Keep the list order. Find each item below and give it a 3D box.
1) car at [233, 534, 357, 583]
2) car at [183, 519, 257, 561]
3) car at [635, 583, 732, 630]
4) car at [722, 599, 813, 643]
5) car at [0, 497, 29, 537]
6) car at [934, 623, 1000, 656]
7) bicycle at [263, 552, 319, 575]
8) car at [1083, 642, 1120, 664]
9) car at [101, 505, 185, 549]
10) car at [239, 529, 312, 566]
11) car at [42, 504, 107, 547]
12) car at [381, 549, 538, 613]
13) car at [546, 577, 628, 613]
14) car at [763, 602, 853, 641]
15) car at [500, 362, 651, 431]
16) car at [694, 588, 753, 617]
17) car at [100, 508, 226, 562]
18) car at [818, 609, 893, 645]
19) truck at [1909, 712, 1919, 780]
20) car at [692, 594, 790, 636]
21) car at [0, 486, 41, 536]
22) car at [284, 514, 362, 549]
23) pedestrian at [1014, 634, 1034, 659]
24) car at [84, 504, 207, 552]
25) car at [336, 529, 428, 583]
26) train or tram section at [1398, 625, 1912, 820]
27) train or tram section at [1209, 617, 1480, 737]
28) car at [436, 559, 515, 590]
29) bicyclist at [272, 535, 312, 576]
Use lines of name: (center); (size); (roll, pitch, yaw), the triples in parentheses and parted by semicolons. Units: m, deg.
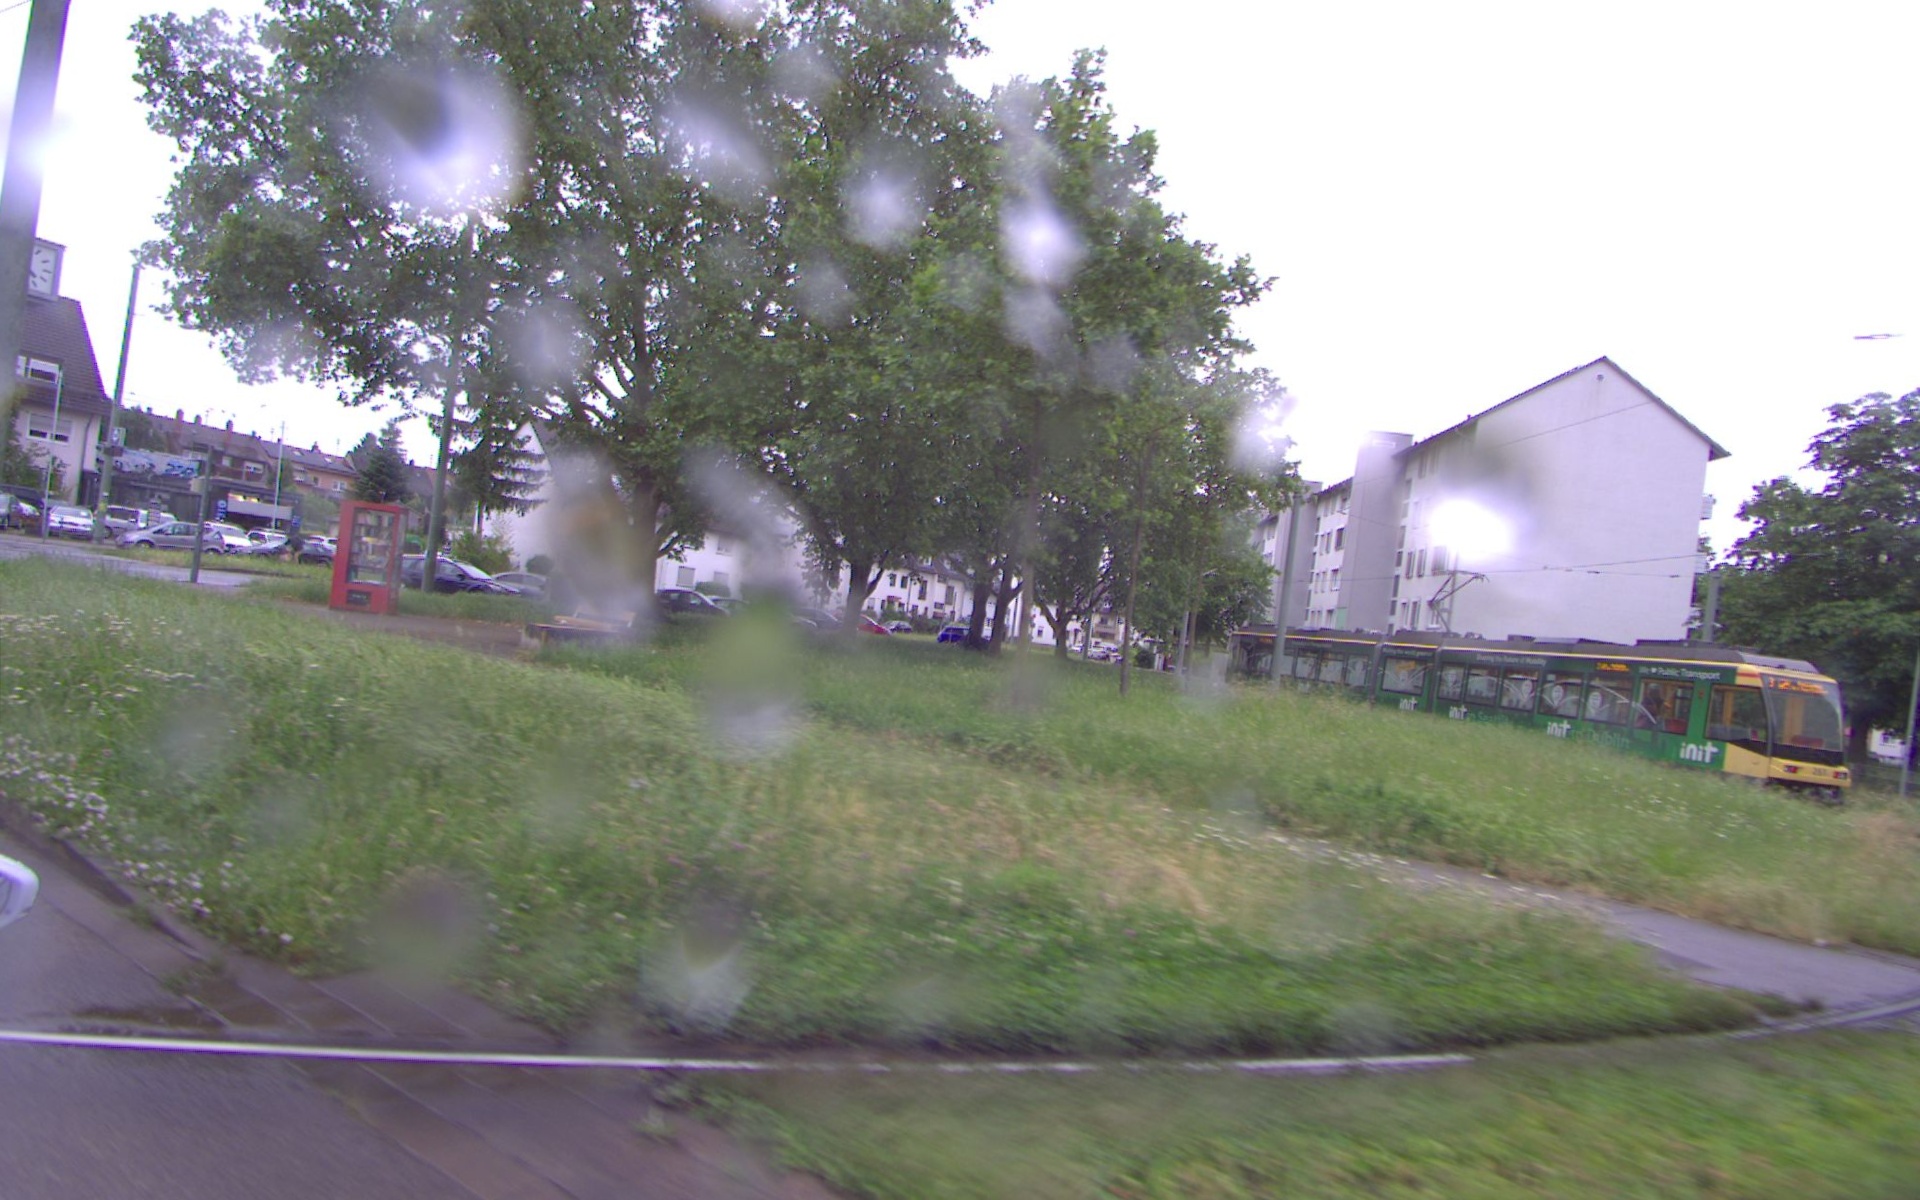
car: (-30.812, -1.891, 46.741); (1.693, 1.352, 4.392); (7, -5, 28)
car: (-37.053, -3.021, 50.383); (3.559, 1.590, 1.721); (6, -3, 34)
car: (-11.361, 0.287, 41.493); (3.454, 1.523, 1.755); (6, -2, -6)
car: (-8.853, 0.996, 46.655); (3.931, 1.570, 1.960); (7, -3, -9)
car: (-40.943, -3.630, 42.199); (1.816, 1.520, 4.027); (10, -3, -31)
car: (0.440, 2.470, 62.984); (3.926, 1.501, 1.999); (7, 0, -1)
bicycle: (-29.981, -1.629, 45.112); (0.926, 0.796, 1.817); (7, -1, 28)
car: (12.767, 4.802, 90.694); (1.928, 1.570, 3.998); (5, -3, 29)
car: (-38.380, -3.454, 47.259); (3.808, 1.598, 1.804); (7, 0, 32)
car: (-35.627, -2.746, 52.363); (3.780, 1.411, 1.721); (6, -3, 34)
car: (-39.366, -3.307, 44.699); (1.825, 1.520, 4.007); (11, -4, -44)
car: (-16.392, -0.592, 33.067); (4.100, 1.494, 1.805); (7, -1, 0)
car: (-21.331, -0.264, 57.702); (1.965, 1.493, 3.996); (7, -1, 28)
car: (-7.451, 1.074, 49.631); (4.047, 1.498, 1.867); (6, -1, -2)
car: (-13.455, -7.113, 35.324); (4.464, 1.494, 1.805); (7, -1, 4)
car: (-16.649, 0.196, 70.980); (1.579, 1.439, 3.943); (7, -4, 30)
car: (-33.385, -2.696, 42.246); (1.693, 1.520, 3.644); (7, -4, 29)
car: (-5.424, 1.398, 52.545); (3.530, 1.498, 1.639); (6, -1, 4)
truck: (51.592, 7.728, 51.934); (3.157, 3.511, 7.125); (6, -4, 41)
car: (-9.568, 0.684, 44.203); (3.928, 1.518, 1.824); (5, -2, -7)
car: (-44.556, -4.253, 45.144); (1.967, 2.037, 4.439); (6, -2, 32)
car: (-42.155, -4.506, 66.663); (1.759, 1.599, 4.452); (6, -2, 9)
pedestrian: (4.832, 3.497, 75.899); (1.029, 1.734, 1.080); (6, -1, 26)
car: (-41.062, -3.583, 50.831); (1.732, 1.707, 4.439); (6, -2, 32)
car: (-33.567, -2.571, 58.410); (5.061, 2.432, 2.151); (7, -3, 30)
train or tram section: (17.612, 2.731, 28.155); (2.668, 3.630, 14.733); (9, -2, -5)
train or tram section: (15.323, 2.862, 42.520); (2.672, 3.630, 14.708); (9, -2, -12)
car: (-29.991, -1.561, 62.329); (1.966, 1.585, 3.885); (7, 2, 29)
bicyclist: (-29.944, -1.989, 45.077); (0.933, 1.617, 1.041); (7, 0, 29)
